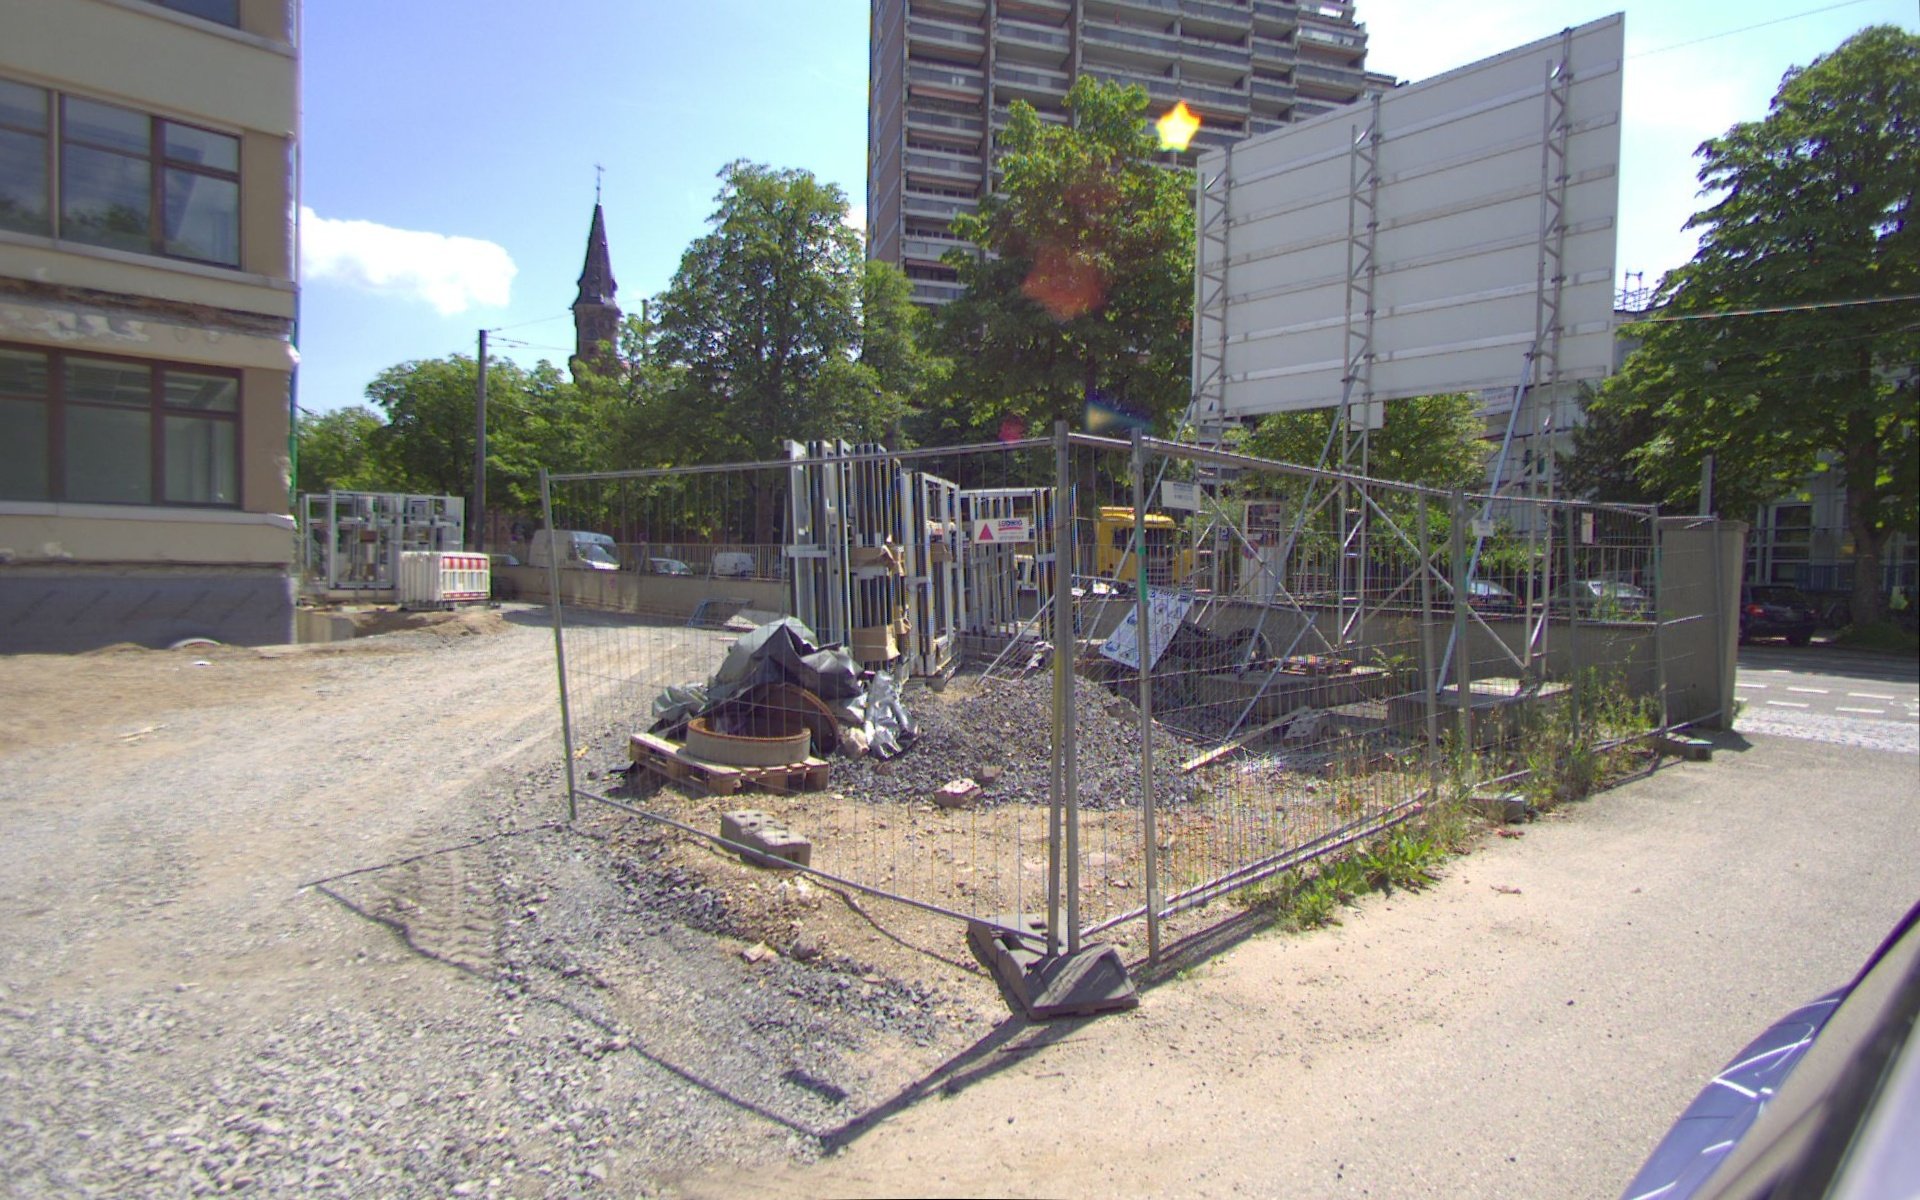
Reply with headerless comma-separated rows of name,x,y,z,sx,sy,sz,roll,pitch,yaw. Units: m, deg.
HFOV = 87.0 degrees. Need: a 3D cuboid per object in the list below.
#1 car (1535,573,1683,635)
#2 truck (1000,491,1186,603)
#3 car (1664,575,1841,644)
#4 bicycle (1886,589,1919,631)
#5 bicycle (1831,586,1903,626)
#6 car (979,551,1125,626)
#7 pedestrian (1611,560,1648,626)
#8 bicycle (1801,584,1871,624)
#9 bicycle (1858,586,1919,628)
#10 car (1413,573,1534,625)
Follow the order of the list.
car,17.517,0.046,27.574,1.789,1.481,4.015,2,2,7
truck,5.115,-2.110,41.653,2.694,4.055,9.764,0,2,-25
car,19.648,0.178,25.285,1.619,1.535,3.575,1,2,1
bicycle,26.966,0.293,28.243,1.903,1.144,0.570,1,1,-11
bicycle,26.657,0.175,29.733,1.887,1.144,0.570,1,1,-14
car,2.436,-0.386,27.590,1.494,1.876,3.992,-4,5,-43
pedestrian,19.516,-0.213,29.487,0.701,1.898,0.578,1,1,-28
bicycle,26.361,0.132,30.458,1.887,1.144,0.570,1,1,-14
bicycle,26.802,0.193,28.973,1.888,1.144,0.570,1,1,-11
car,15.197,-0.093,30.206,1.599,1.390,4.022,1,2,1
